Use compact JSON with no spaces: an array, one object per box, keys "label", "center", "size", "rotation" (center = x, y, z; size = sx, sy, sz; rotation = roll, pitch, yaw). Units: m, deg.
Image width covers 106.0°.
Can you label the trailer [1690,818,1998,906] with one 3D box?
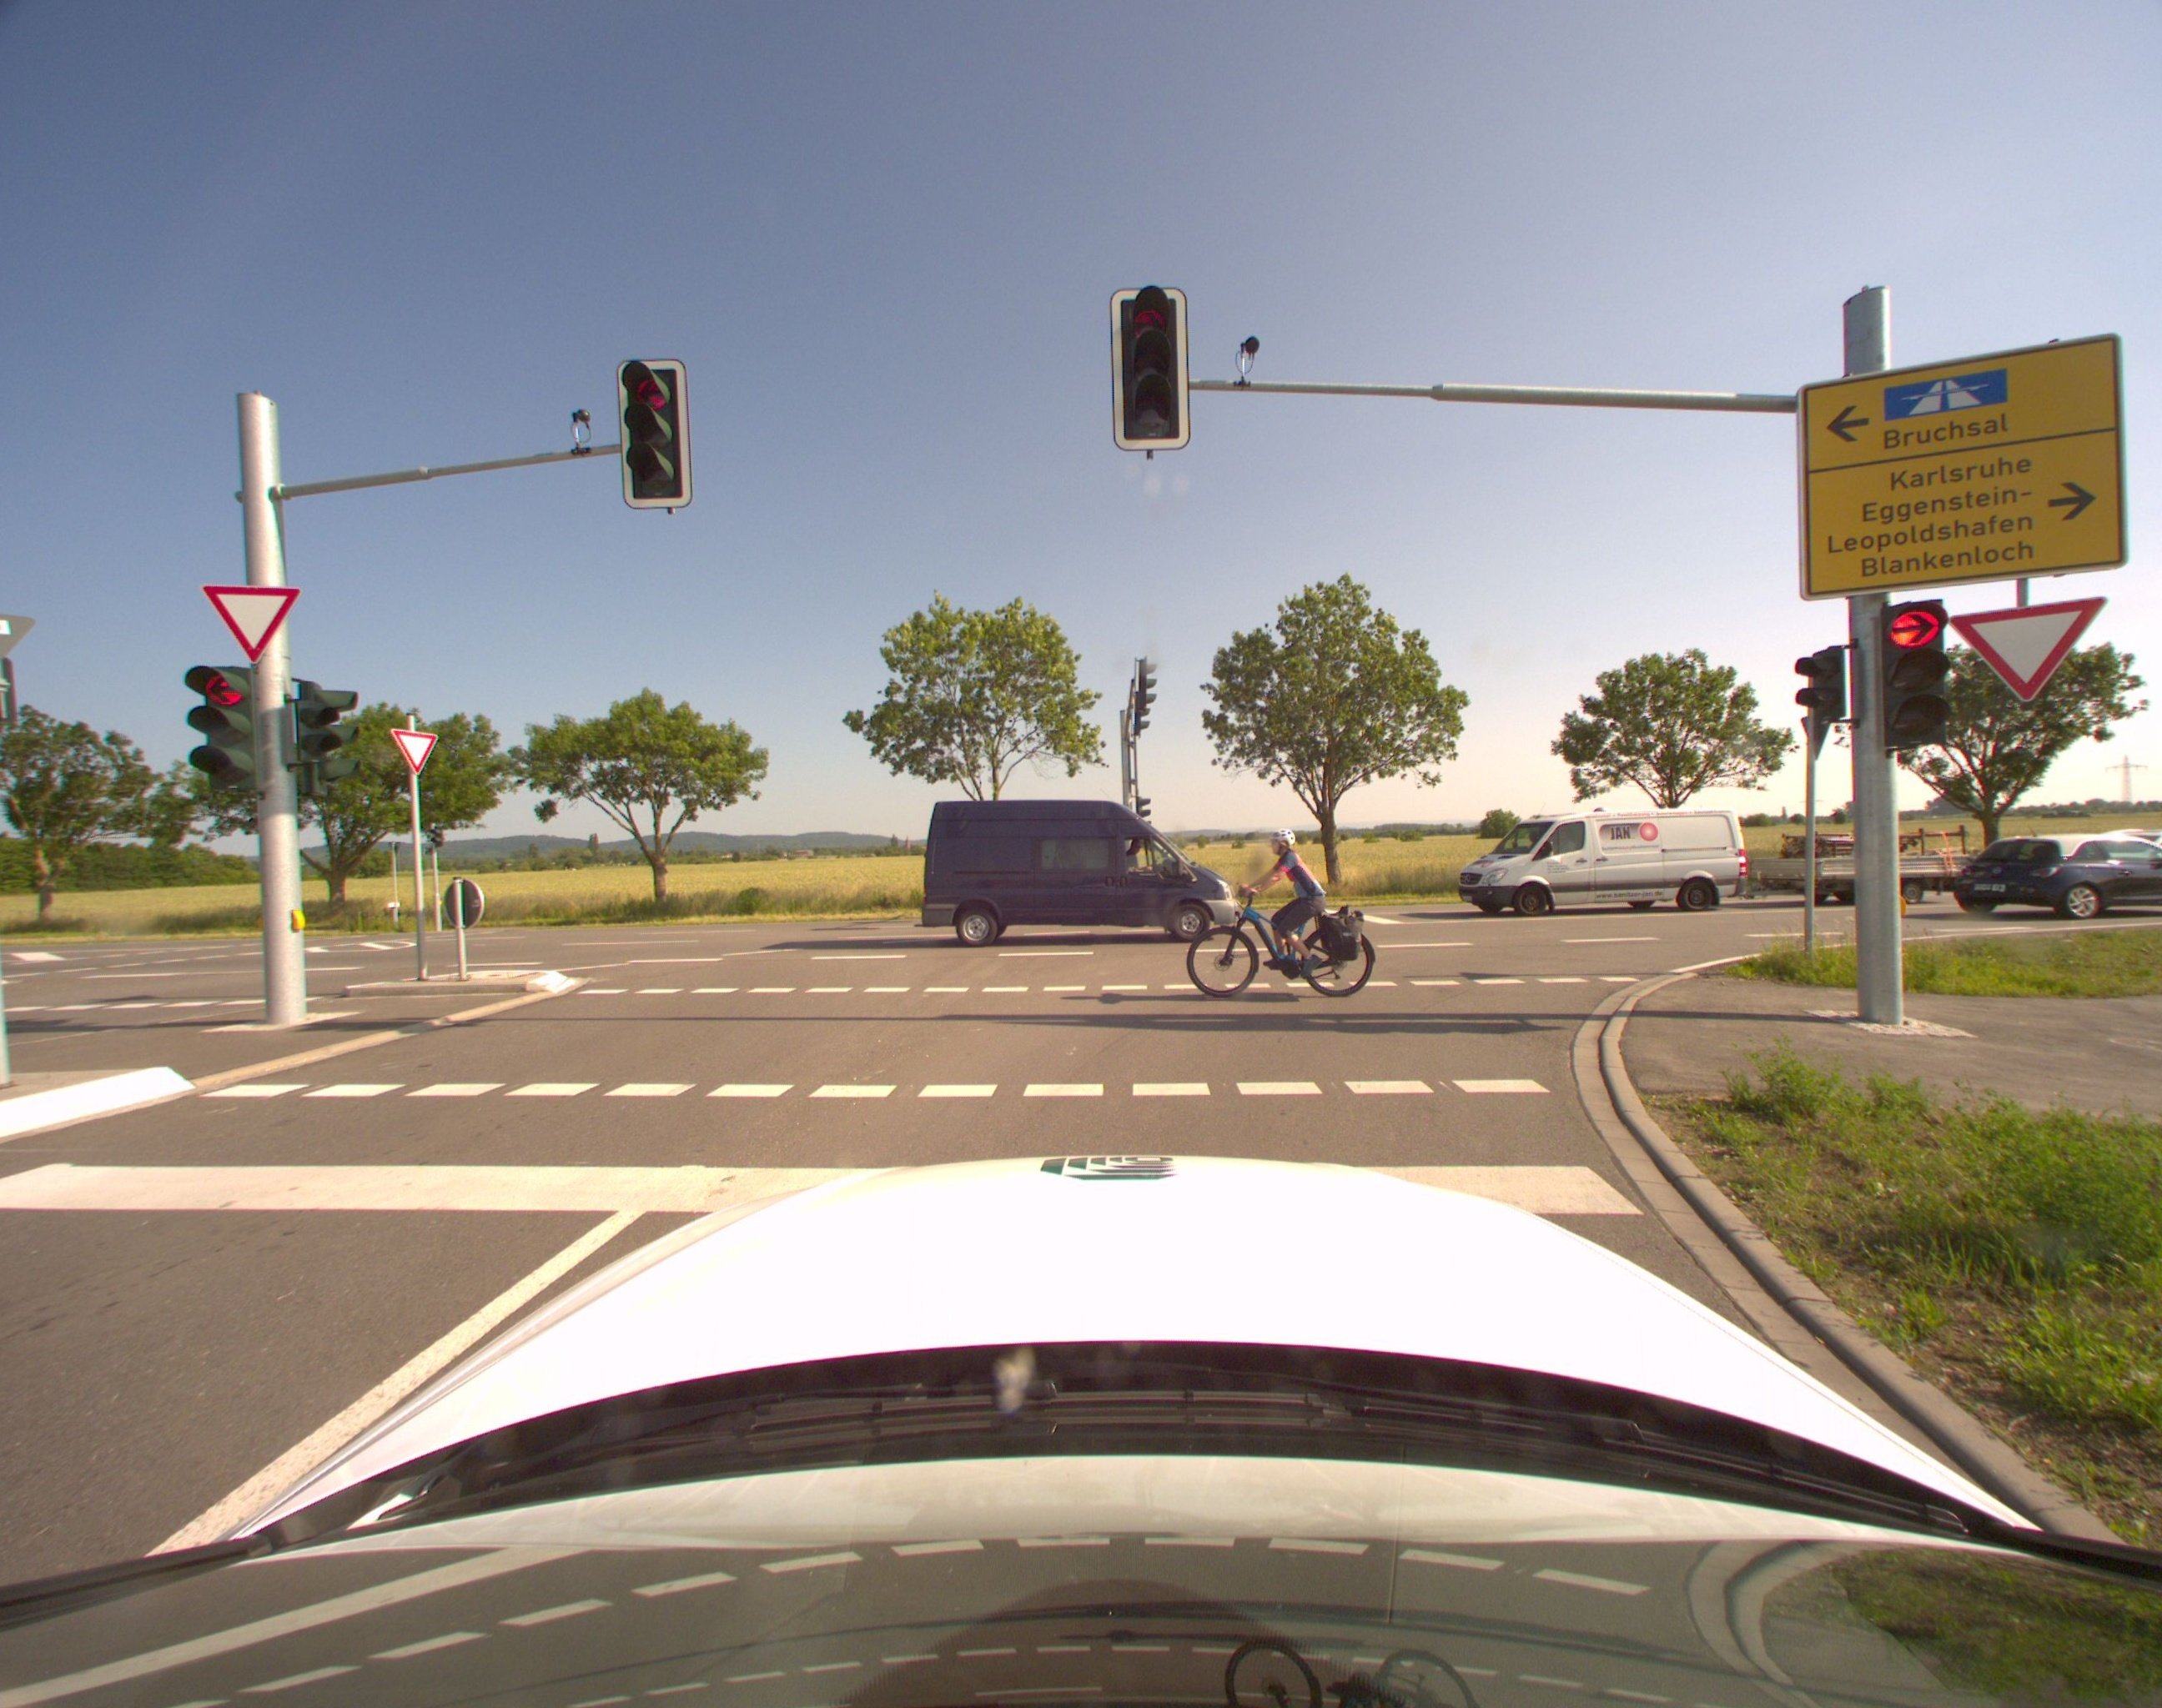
[{"label":"trailer","center":[17.320,0.173,18.679],"size":[5.245,1.753,1.953],"rotation":[-2,-1,-1]}]

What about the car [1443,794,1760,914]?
[{"label":"car","center":[11.691,0.010,18.580],"size":[5.939,2.493,1.999],"rotation":[-1,-1,-1]}]

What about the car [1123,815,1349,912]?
[{"label":"car","center":[4.249,0.259,23.068],"size":[5.880,2.577,2.389],"rotation":[0,-1,-5]}]

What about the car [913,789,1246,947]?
[{"label":"car","center":[-0.007,0.240,15.108],"size":[5.711,2.622,2.034],"rotation":[-1,0,0]}]

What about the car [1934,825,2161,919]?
[{"label":"car","center":[18.170,0.284,14.719],"size":[3.716,1.457,1.728],"rotation":[-3,1,-1]}]

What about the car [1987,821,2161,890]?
[{"label":"car","center":[24.661,0.032,19.081],"size":[4.858,1.510,1.997],"rotation":[0,-1,-4]}]

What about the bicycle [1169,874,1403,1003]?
[{"label":"bicycle","center":[2.047,0.821,8.348],"size":[2.151,1.186,0.889],"rotation":[-1,-1,-4]}]

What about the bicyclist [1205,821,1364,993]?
[{"label":"bicyclist","center":[2.021,0.491,8.307],"size":[1.276,1.601,1.164],"rotation":[-1,1,-3]}]
